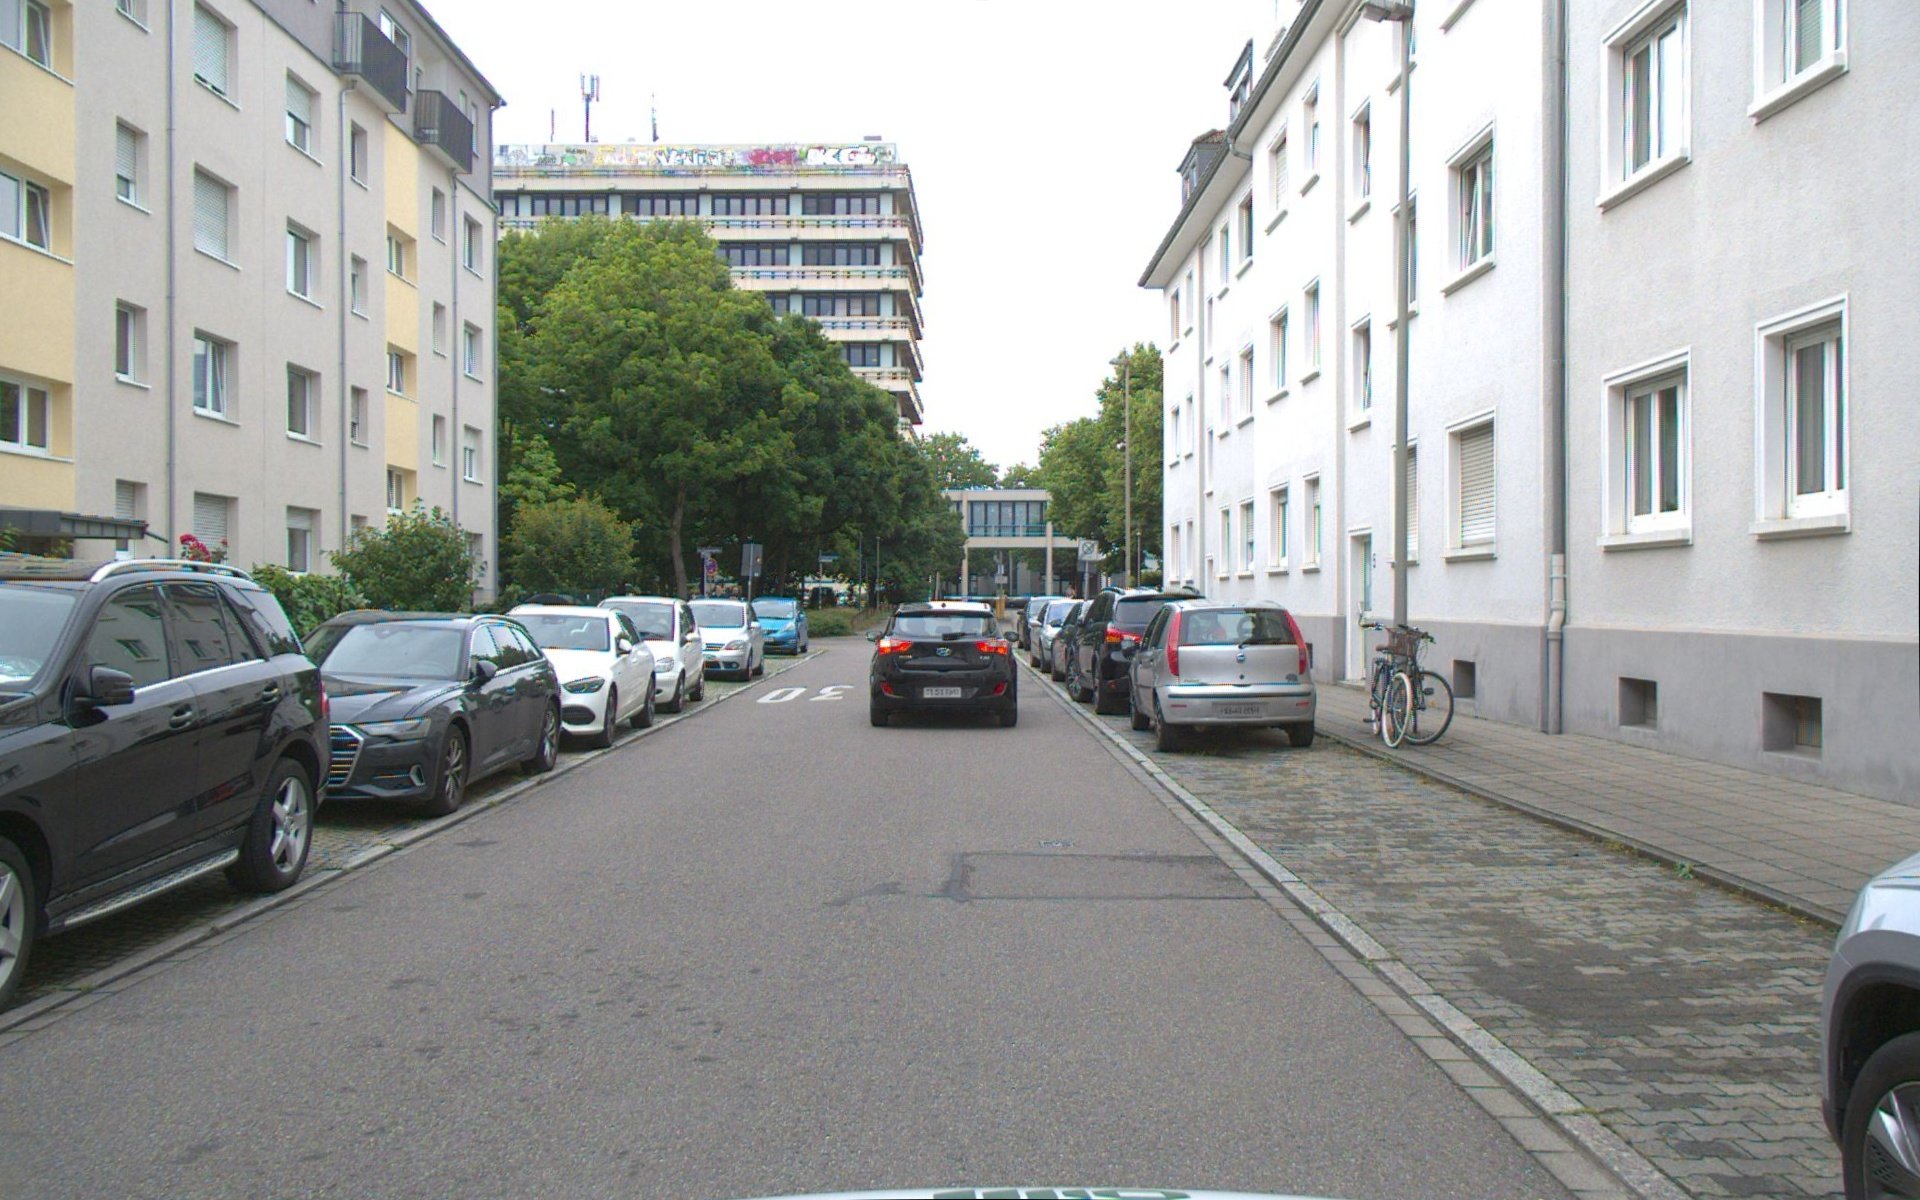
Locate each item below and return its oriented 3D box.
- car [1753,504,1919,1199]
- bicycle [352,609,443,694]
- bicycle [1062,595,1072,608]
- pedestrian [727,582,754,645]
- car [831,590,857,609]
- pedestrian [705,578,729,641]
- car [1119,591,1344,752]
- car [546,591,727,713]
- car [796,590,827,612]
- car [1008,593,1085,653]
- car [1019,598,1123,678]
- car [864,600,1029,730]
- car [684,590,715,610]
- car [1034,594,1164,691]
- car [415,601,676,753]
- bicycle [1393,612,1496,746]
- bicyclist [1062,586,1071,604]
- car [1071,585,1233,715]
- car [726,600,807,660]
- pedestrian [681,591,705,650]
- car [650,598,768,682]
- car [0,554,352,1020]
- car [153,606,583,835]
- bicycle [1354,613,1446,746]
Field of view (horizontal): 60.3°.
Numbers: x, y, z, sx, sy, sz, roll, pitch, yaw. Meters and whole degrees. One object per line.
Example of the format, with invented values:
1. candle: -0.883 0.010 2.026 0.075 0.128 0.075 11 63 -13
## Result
1. car: 2.796 0.631 1.919 1.783 1.671 4.091 -1 0 0
2. bicycle: -8.654 0.768 25.529 0.716 1.232 2.090 0 0 -1
3. bicycle: 8.457 0.079 131.115 0.678 1.014 1.735 0 0 0
4. pedestrian: -6.598 0.407 49.726 0.699 1.863 0.797 0 0 1
5. car: -8.239 -0.039 117.462 1.632 1.356 3.395 0 0 -1
6. pedestrian: -7.305 0.278 49.740 0.592 1.863 0.675 0 0 1
7. car: 2.832 0.691 18.089 1.783 1.529 4.091 -1 0 0
8. car: -4.815 0.725 25.226 1.856 1.627 4.520 2 0 -1
9. car: -9.317 0.044 104.013 1.632 1.356 3.395 0 0 -1
10. car: 2.350 0.600 45.896 1.783 1.546 4.672 -1 0 -1
11. car: 2.257 0.737 34.613 1.783 1.546 4.672 0 0 -1
12. car: -0.150 0.742 20.919 1.864 1.458 4.232 0 0 0
13. car: -18.480 0.004 117.460 1.632 1.356 3.395 0 0 -1
14. car: 2.322 0.674 28.718 1.783 1.546 4.672 0 0 -1
15. car: -4.606 0.786 19.091 1.856 1.477 4.520 2 0 -1
16. bicycle: 4.728 0.735 16.253 0.564 1.196 2.038 -1 0 5
17. bicyclist: 8.463 -0.399 131.125 0.679 1.469 0.795 0 0 0
18. car: 2.550 0.619 22.854 1.783 1.631 4.091 0 0 0
19. car: -5.314 0.793 45.846 1.954 1.568 3.998 1 0 -3
20. pedestrian: -7.960 0.590 49.263 0.588 1.743 0.648 0 0 1
21. car: -5.016 0.763 33.552 1.954 1.568 3.998 1 0 -3
22. car: -4.557 0.675 7.589 1.856 1.770 4.474 2 0 -1
23. car: -4.577 0.836 13.644 1.856 1.477 4.665 2 0 -1
24. bicycle: 4.303 0.745 16.283 0.519 1.196 2.038 -1 0 5
